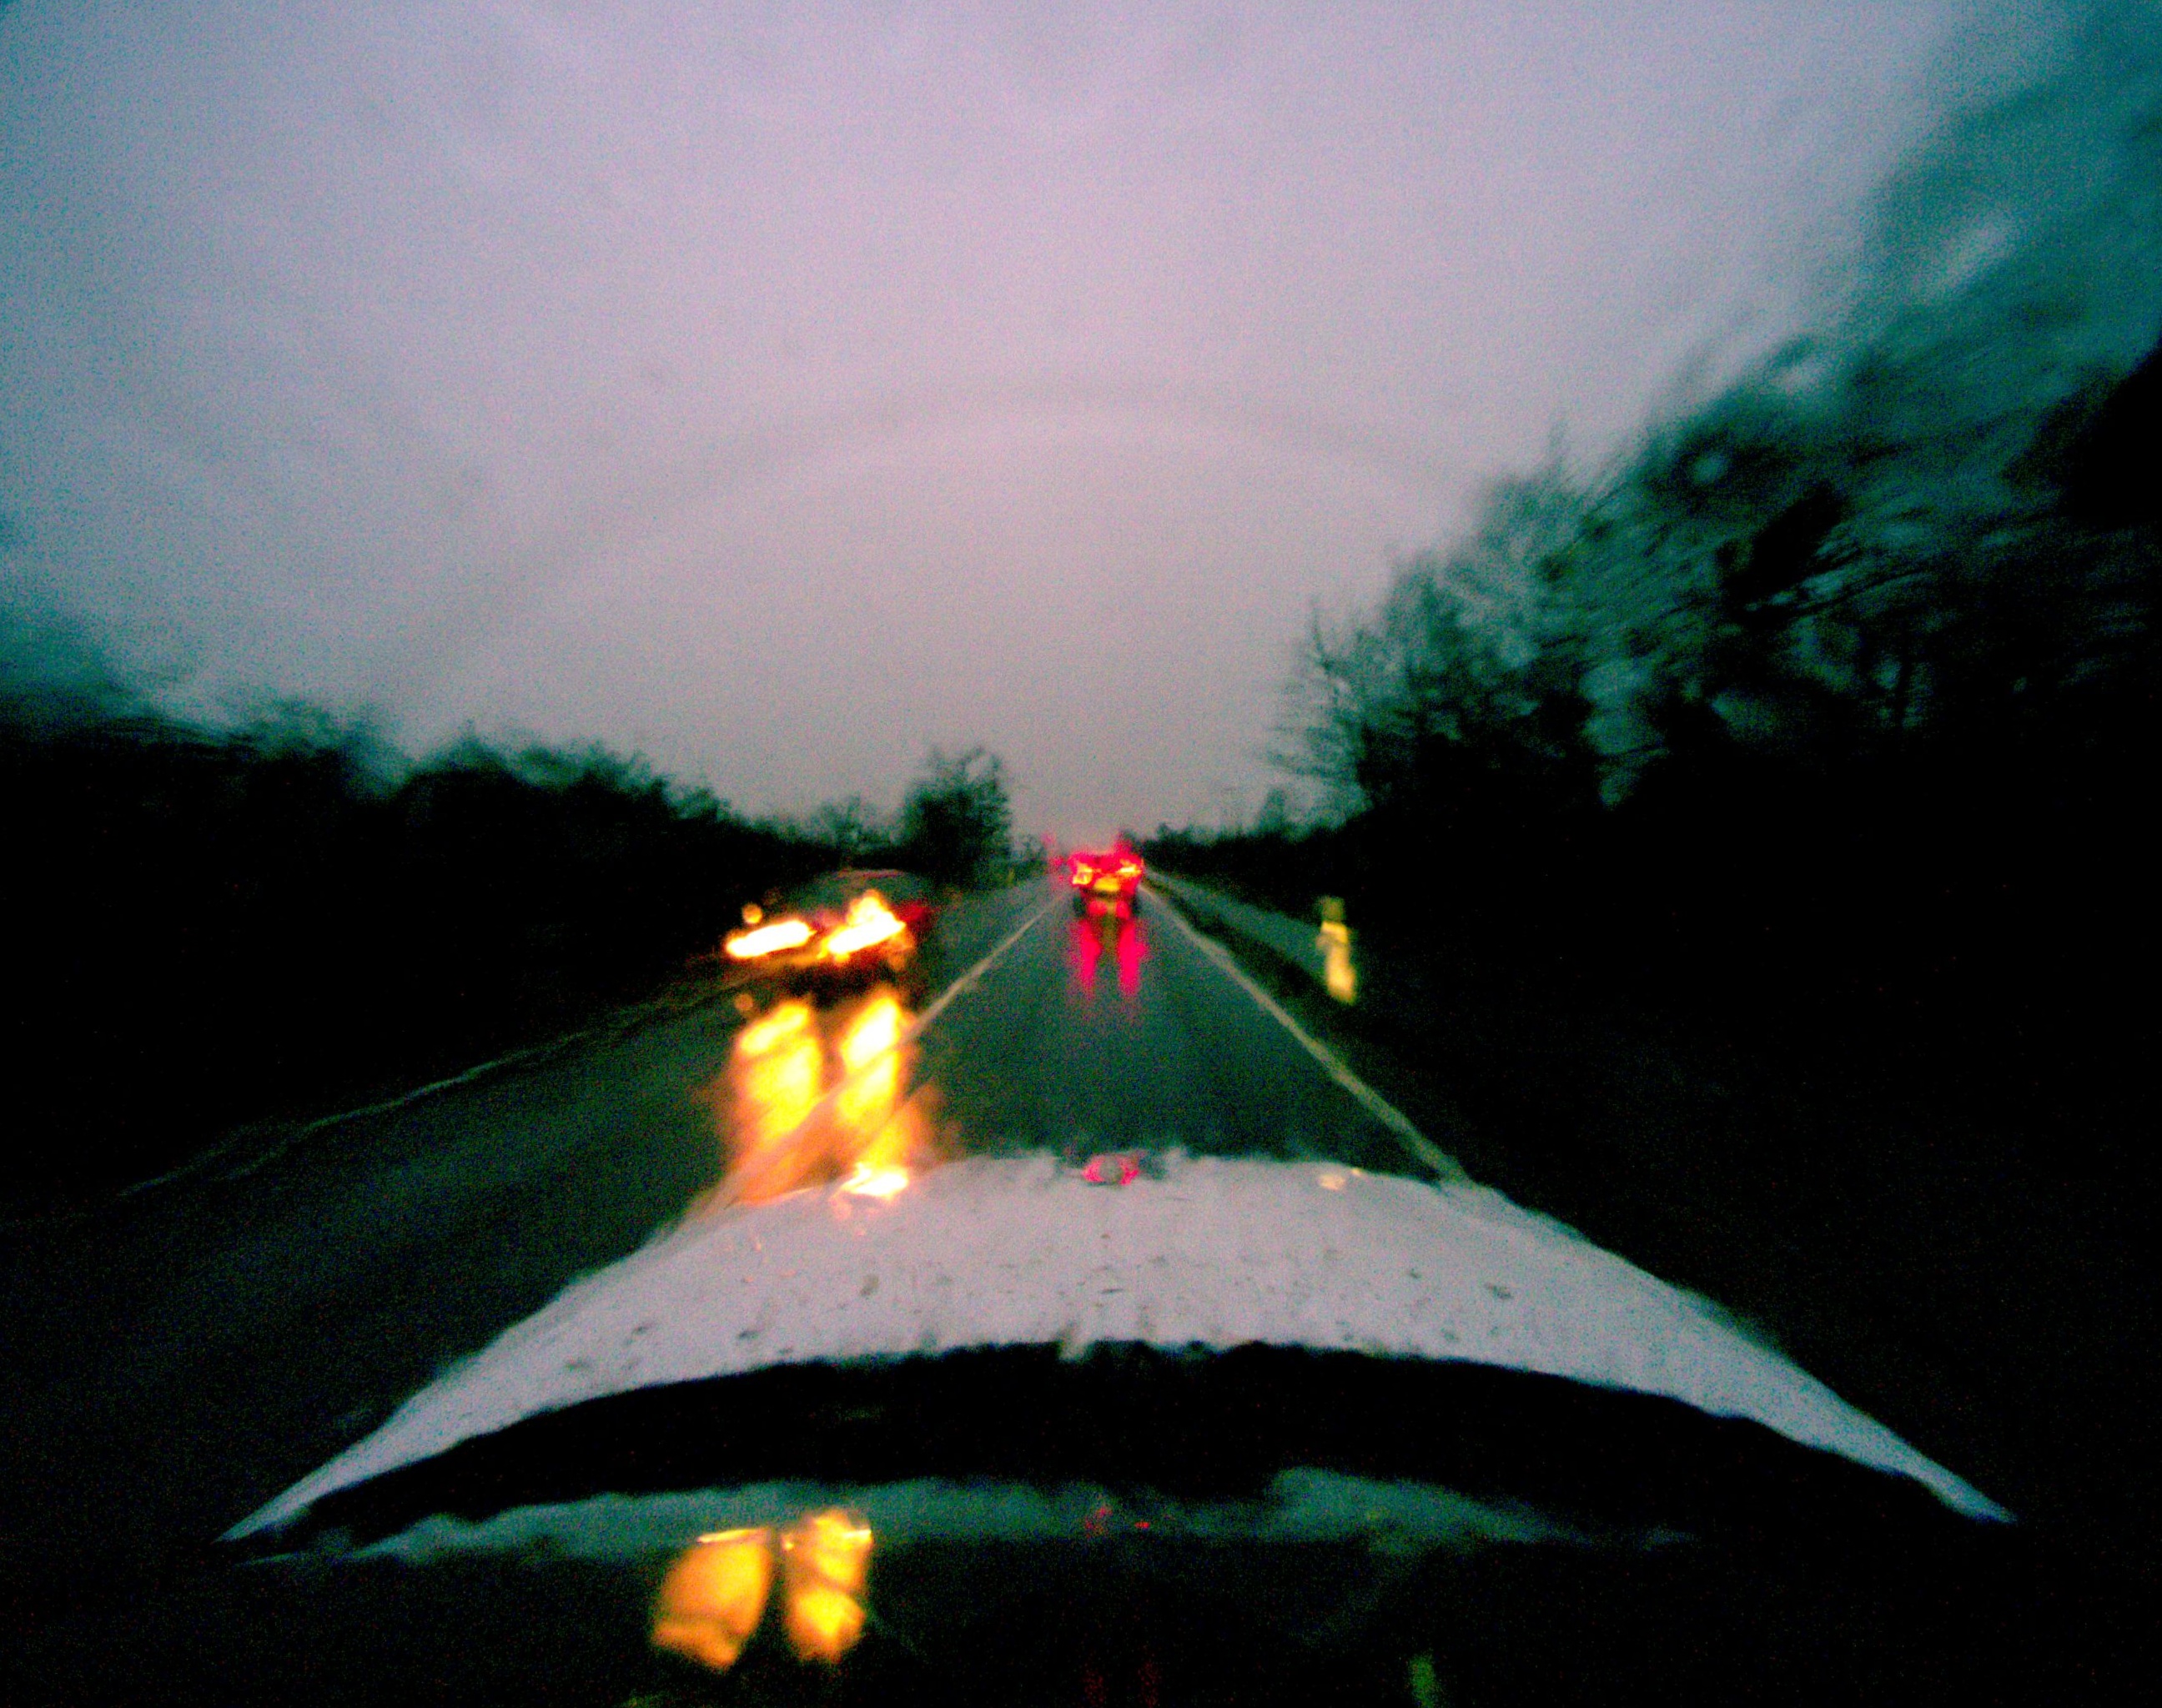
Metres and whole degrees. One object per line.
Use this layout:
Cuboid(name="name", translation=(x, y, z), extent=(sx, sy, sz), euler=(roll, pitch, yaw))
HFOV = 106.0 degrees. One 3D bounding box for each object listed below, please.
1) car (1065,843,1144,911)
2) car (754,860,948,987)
Cuboid(name="car", translation=(0.709, 0.625, 24.533), extent=(2.112, 1.820, 4.982), euler=(-1, 0, 2))
Cuboid(name="car", translation=(-3.207, 0.888, 12.190), extent=(1.626, 1.457, 3.983), euler=(-4, 0, 1))
